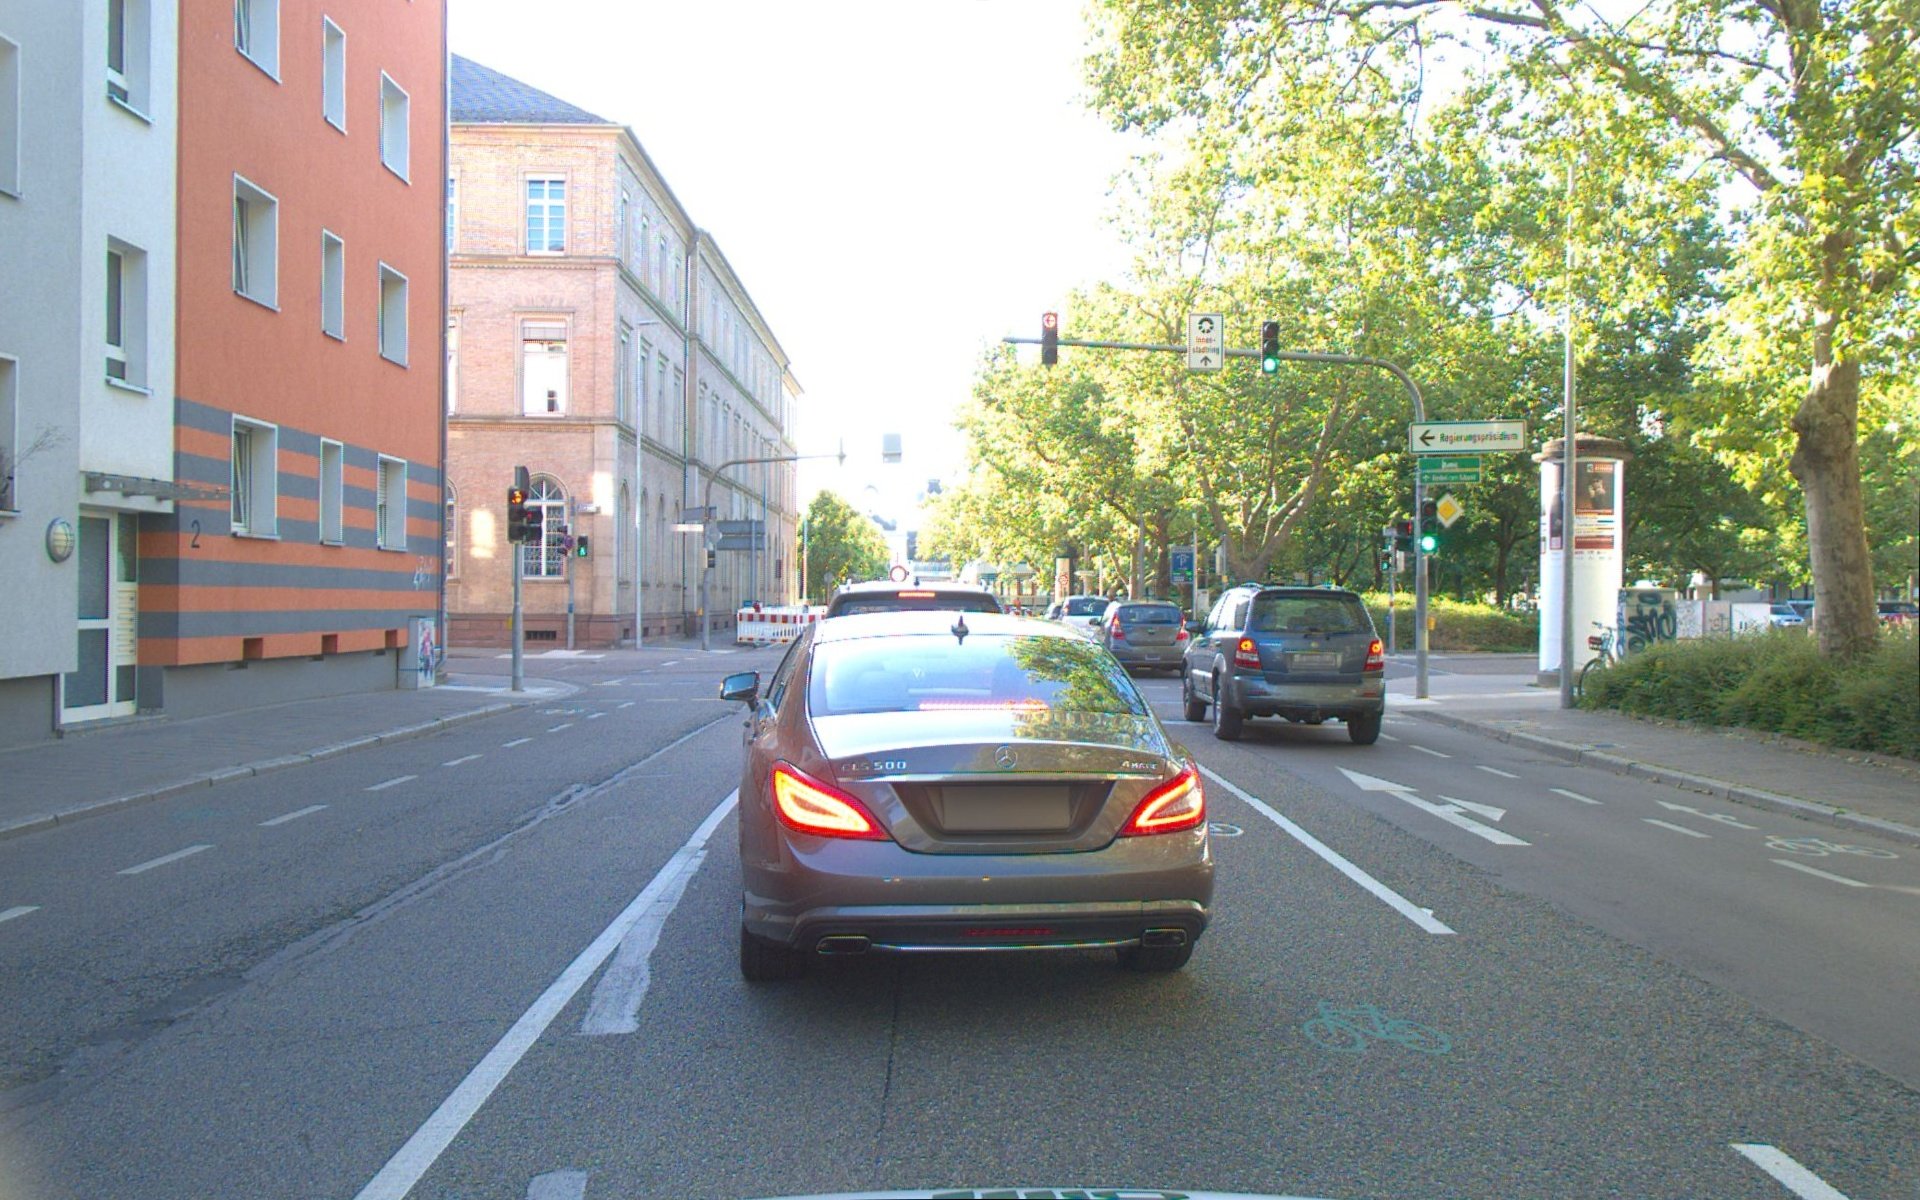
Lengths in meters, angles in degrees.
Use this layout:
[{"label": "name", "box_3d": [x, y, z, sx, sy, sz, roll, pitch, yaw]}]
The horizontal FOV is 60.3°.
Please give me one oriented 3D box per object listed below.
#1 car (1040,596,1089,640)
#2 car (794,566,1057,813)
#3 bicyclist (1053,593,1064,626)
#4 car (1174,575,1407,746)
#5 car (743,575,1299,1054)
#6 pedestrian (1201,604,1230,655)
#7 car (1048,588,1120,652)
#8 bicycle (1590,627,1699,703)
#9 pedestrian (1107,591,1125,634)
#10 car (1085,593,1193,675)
[{"label": "car", "box_3d": [3.956, 0.677, 63.012, 1.568, 1.576, 3.680, 1, 0, -1]}, {"label": "car", "box_3d": [-0.269, 0.624, 13.586, 1.823, 1.712, 3.999, 1, 0, -1]}, {"label": "bicyclist", "box_3d": [6.250, 0.619, 105.054, 0.583, 2.075, 0.565, 1, -1, -5]}, {"label": "car", "box_3d": [3.806, 0.638, 19.819, 1.823, 1.794, 4.481, 1, 0, -1]}, {"label": "car", "box_3d": [-0.033, 0.693, 7.458, 1.826, 1.545, 3.993, 1, 0, -8]}, {"label": "pedestrian", "box_3d": [8.007, 0.908, 51.856, 0.624, 1.572, 0.908, 1, -1, -11]}, {"label": "car", "box_3d": [3.446, 0.552, 46.489, 1.696, 1.691, 3.680, 1, 0, -1]}, {"label": "bicycle", "box_3d": [9.872, 0.928, 23.831, 1.868, 1.046, 0.633, 1, -1, -39]}, {"label": "pedestrian", "box_3d": [6.547, 0.517, 69.444, 0.623, 1.791, 0.698, 1, -1, -5]}, {"label": "car", "box_3d": [3.550, 0.639, 33.399, 1.670, 1.545, 3.999, 1, 0, -1]}]
